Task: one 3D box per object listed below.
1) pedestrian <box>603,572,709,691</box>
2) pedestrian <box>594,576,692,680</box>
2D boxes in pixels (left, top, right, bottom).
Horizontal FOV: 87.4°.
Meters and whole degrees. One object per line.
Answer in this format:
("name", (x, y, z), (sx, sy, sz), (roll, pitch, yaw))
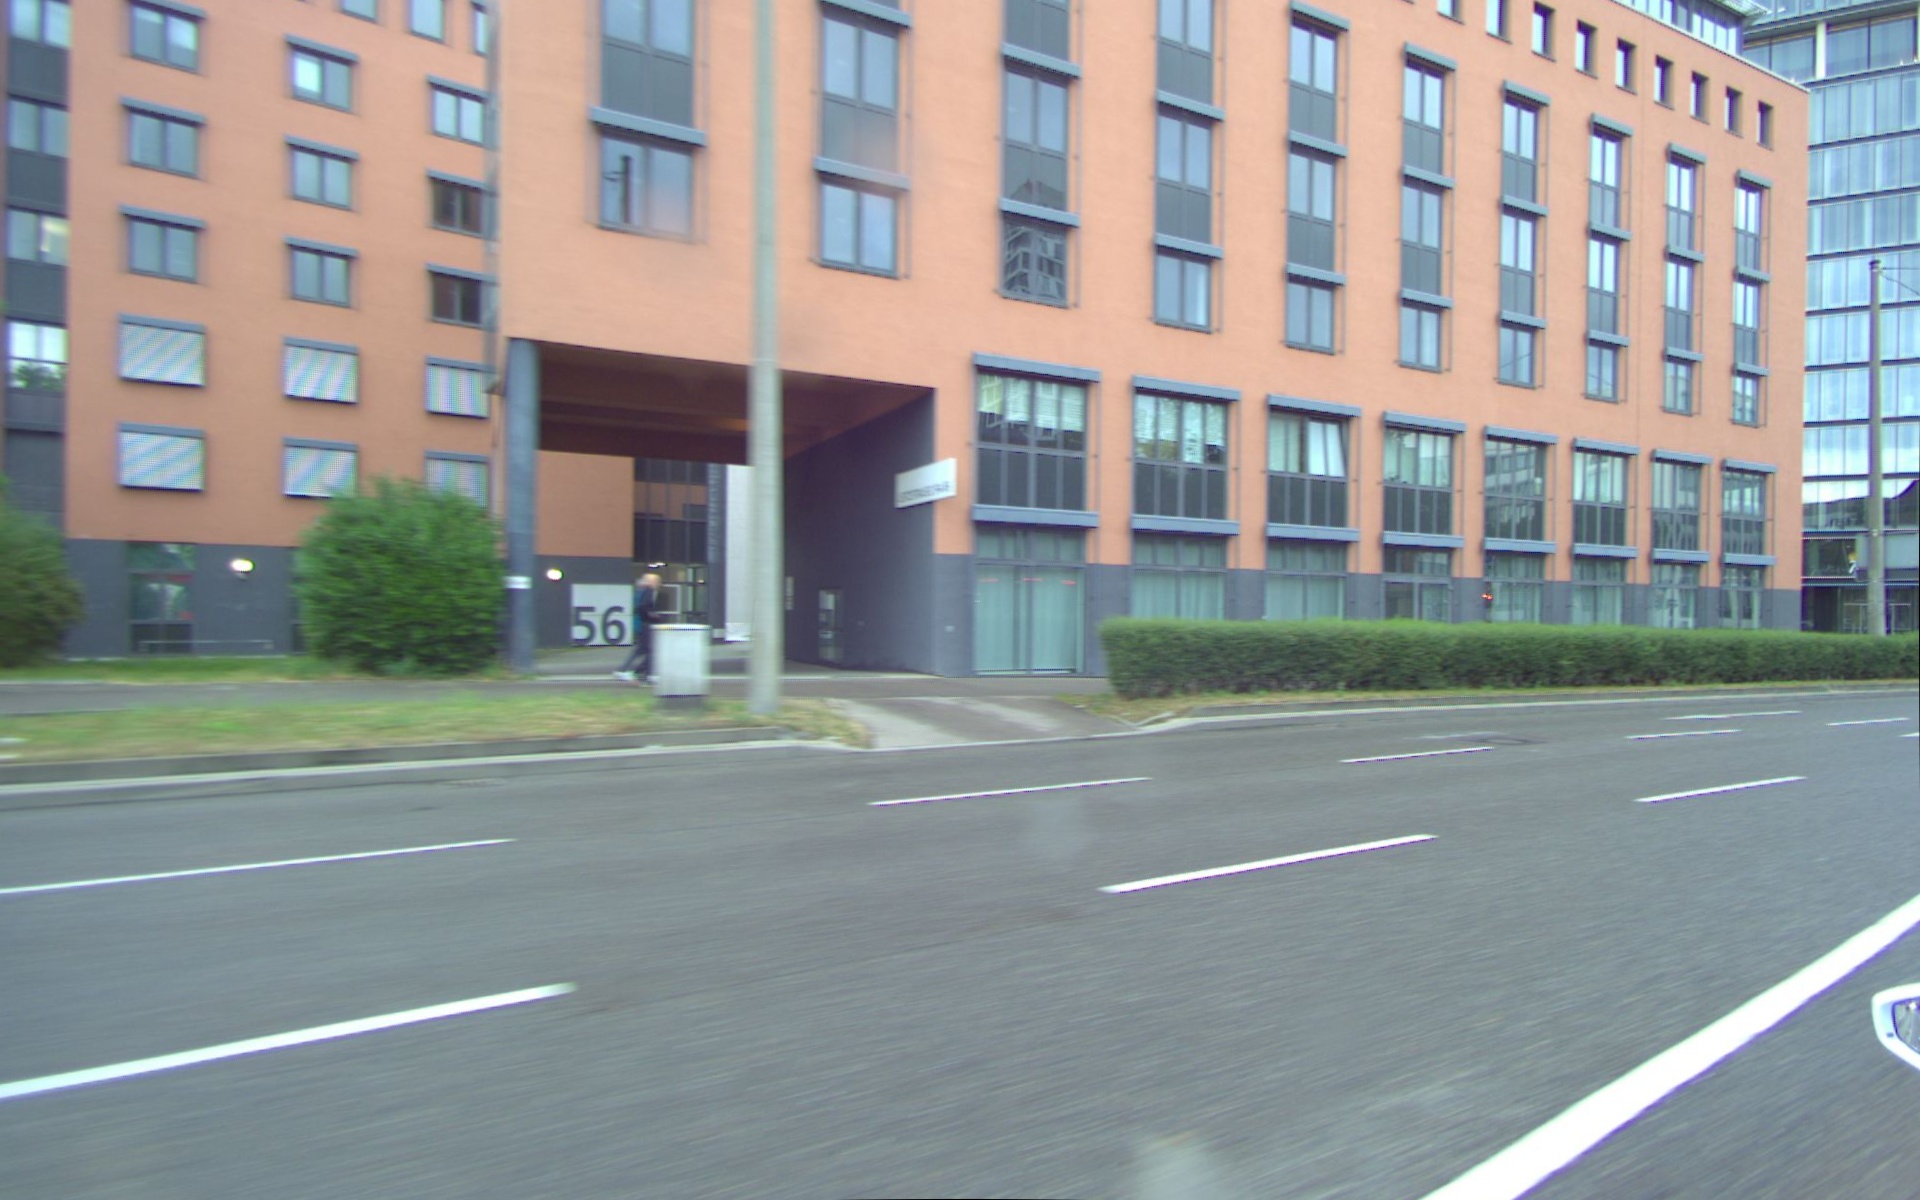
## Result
("pedestrian", (-5.029, 0.546, 16.558), (1.420, 1.847, 1.311), (3, -3, -26))
("pedestrian", (-5.513, 0.509, 17.418), (1.401, 1.701, 1.202), (3, -3, -26))
